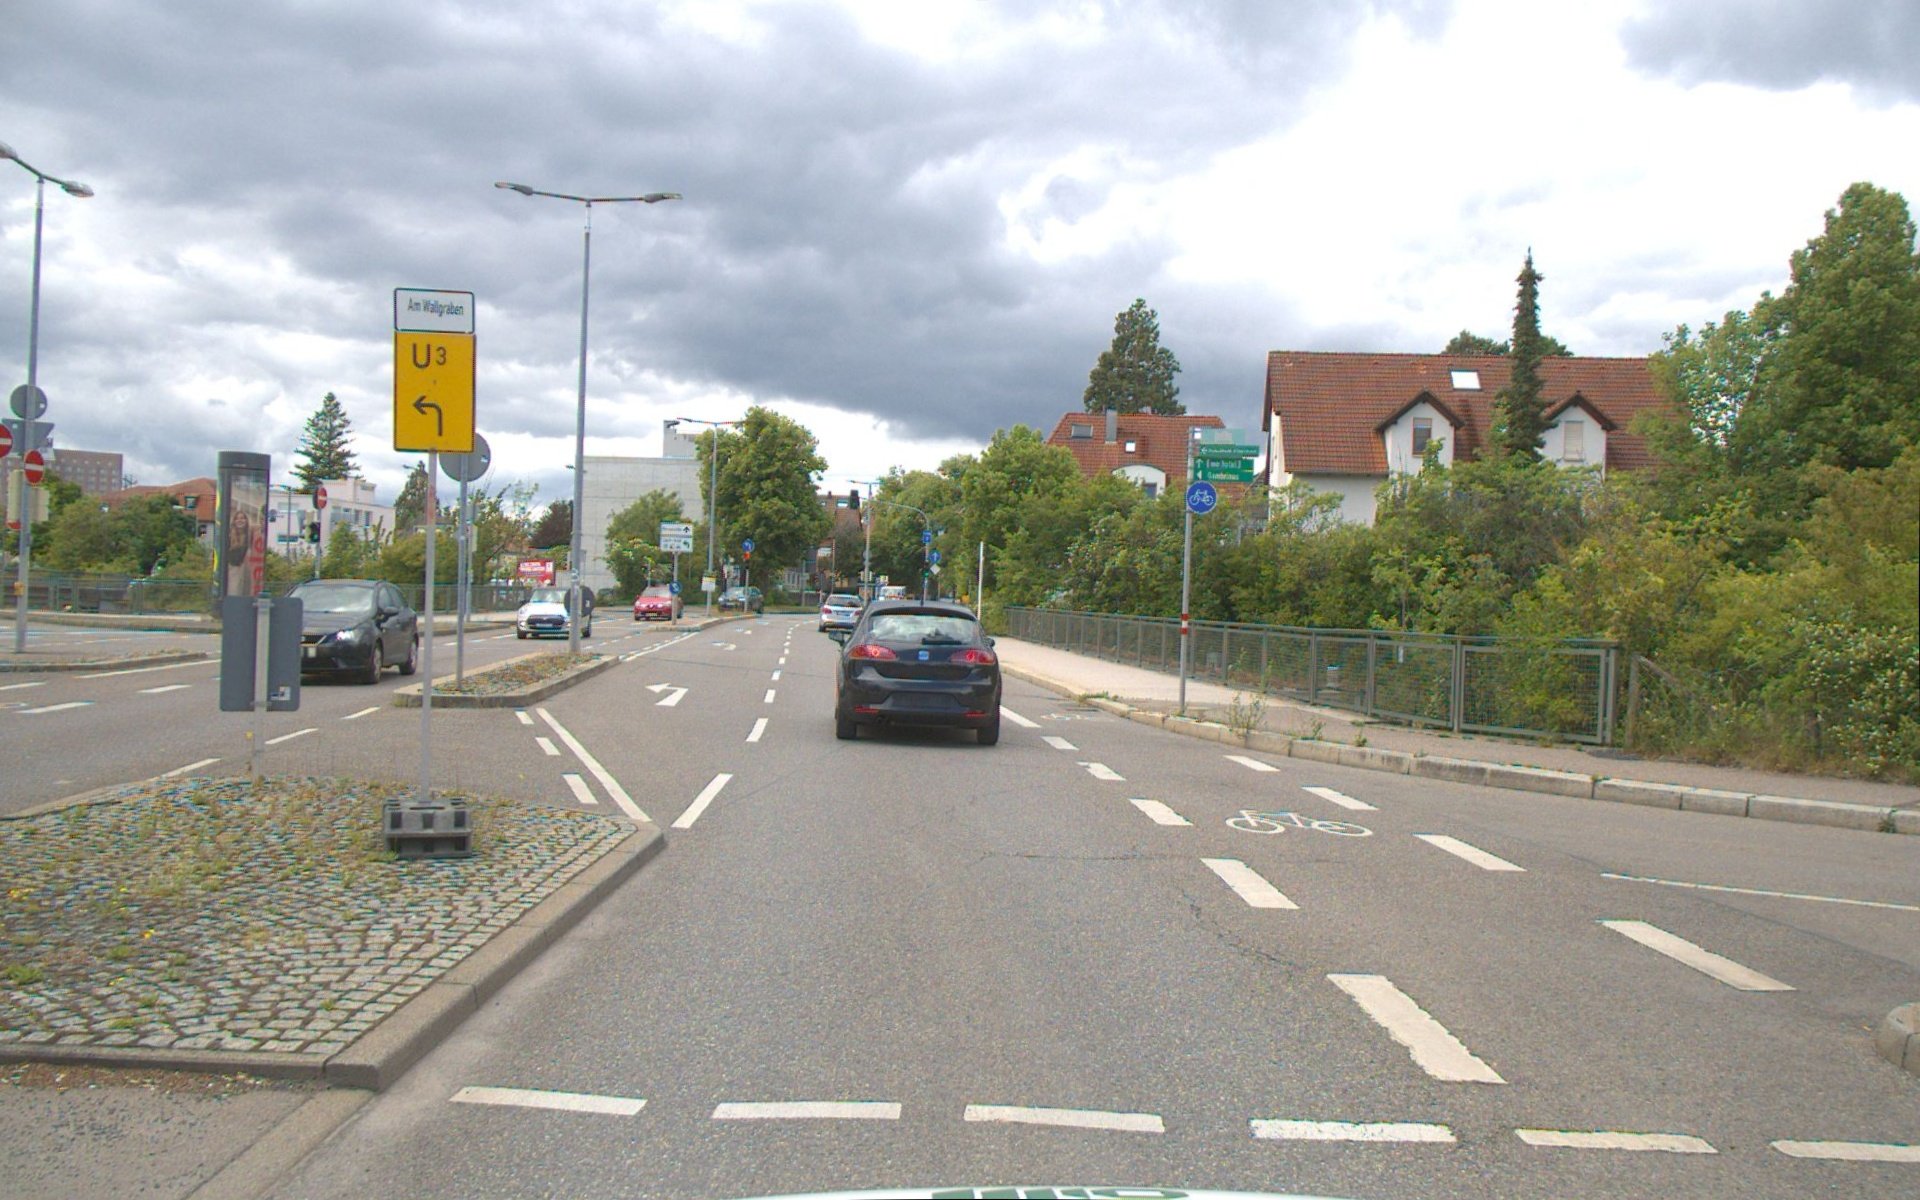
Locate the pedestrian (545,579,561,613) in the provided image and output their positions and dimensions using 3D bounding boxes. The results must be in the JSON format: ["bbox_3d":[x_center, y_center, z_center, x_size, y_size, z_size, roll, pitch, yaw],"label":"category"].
[{"bbox_3d":[-20.214,-0.213,82.105,0.644,1.662,1.068,3,-1,-11],"label":"pedestrian"}]

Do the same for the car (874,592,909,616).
[{"bbox_3d":[-4.484,0.233,107.048,1.904,1.507,4.246,1,0,-7],"label":"car"}]

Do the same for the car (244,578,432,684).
[{"bbox_3d":[-8.986,0.411,24.205,1.687,1.415,3.912,0,0,-7],"label":"car"}]

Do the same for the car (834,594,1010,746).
[{"bbox_3d":[-0.425,0.690,18.270,1.724,1.474,3.713,1,0,-2],"label":"car"}]

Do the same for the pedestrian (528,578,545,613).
[{"bbox_3d":[-20.990,-0.232,81.975,0.644,1.662,0.831,3,-1,-11],"label":"pedestrian"}]

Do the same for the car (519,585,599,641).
[{"bbox_3d":[-11.263,0.353,46.667,1.611,1.433,3.814,2,0,-6],"label":"car"}]

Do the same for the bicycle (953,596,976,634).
[{"bbox_3d":[0.193,0.603,68.174,0.873,1.537,2.783,1,0,0],"label":"bicycle"}]

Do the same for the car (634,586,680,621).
[{"bbox_3d":[-13.533,0.143,74.011,1.688,1.473,4.060,2,0,-7],"label":"car"}]

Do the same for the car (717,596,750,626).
[{"bbox_3d":[-12.928,0.625,94.555,1.788,1.655,4.272,2,0,-7],"label":"car"}]

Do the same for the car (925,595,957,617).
[{"bbox_3d":[-1.599,0.517,140.084,1.951,1.713,4.003,2,0,11],"label":"car"}]

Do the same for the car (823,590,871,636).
[{"bbox_3d":[-4.446,0.493,65.029,1.783,1.729,4.250,1,0,-4],"label":"car"}]
